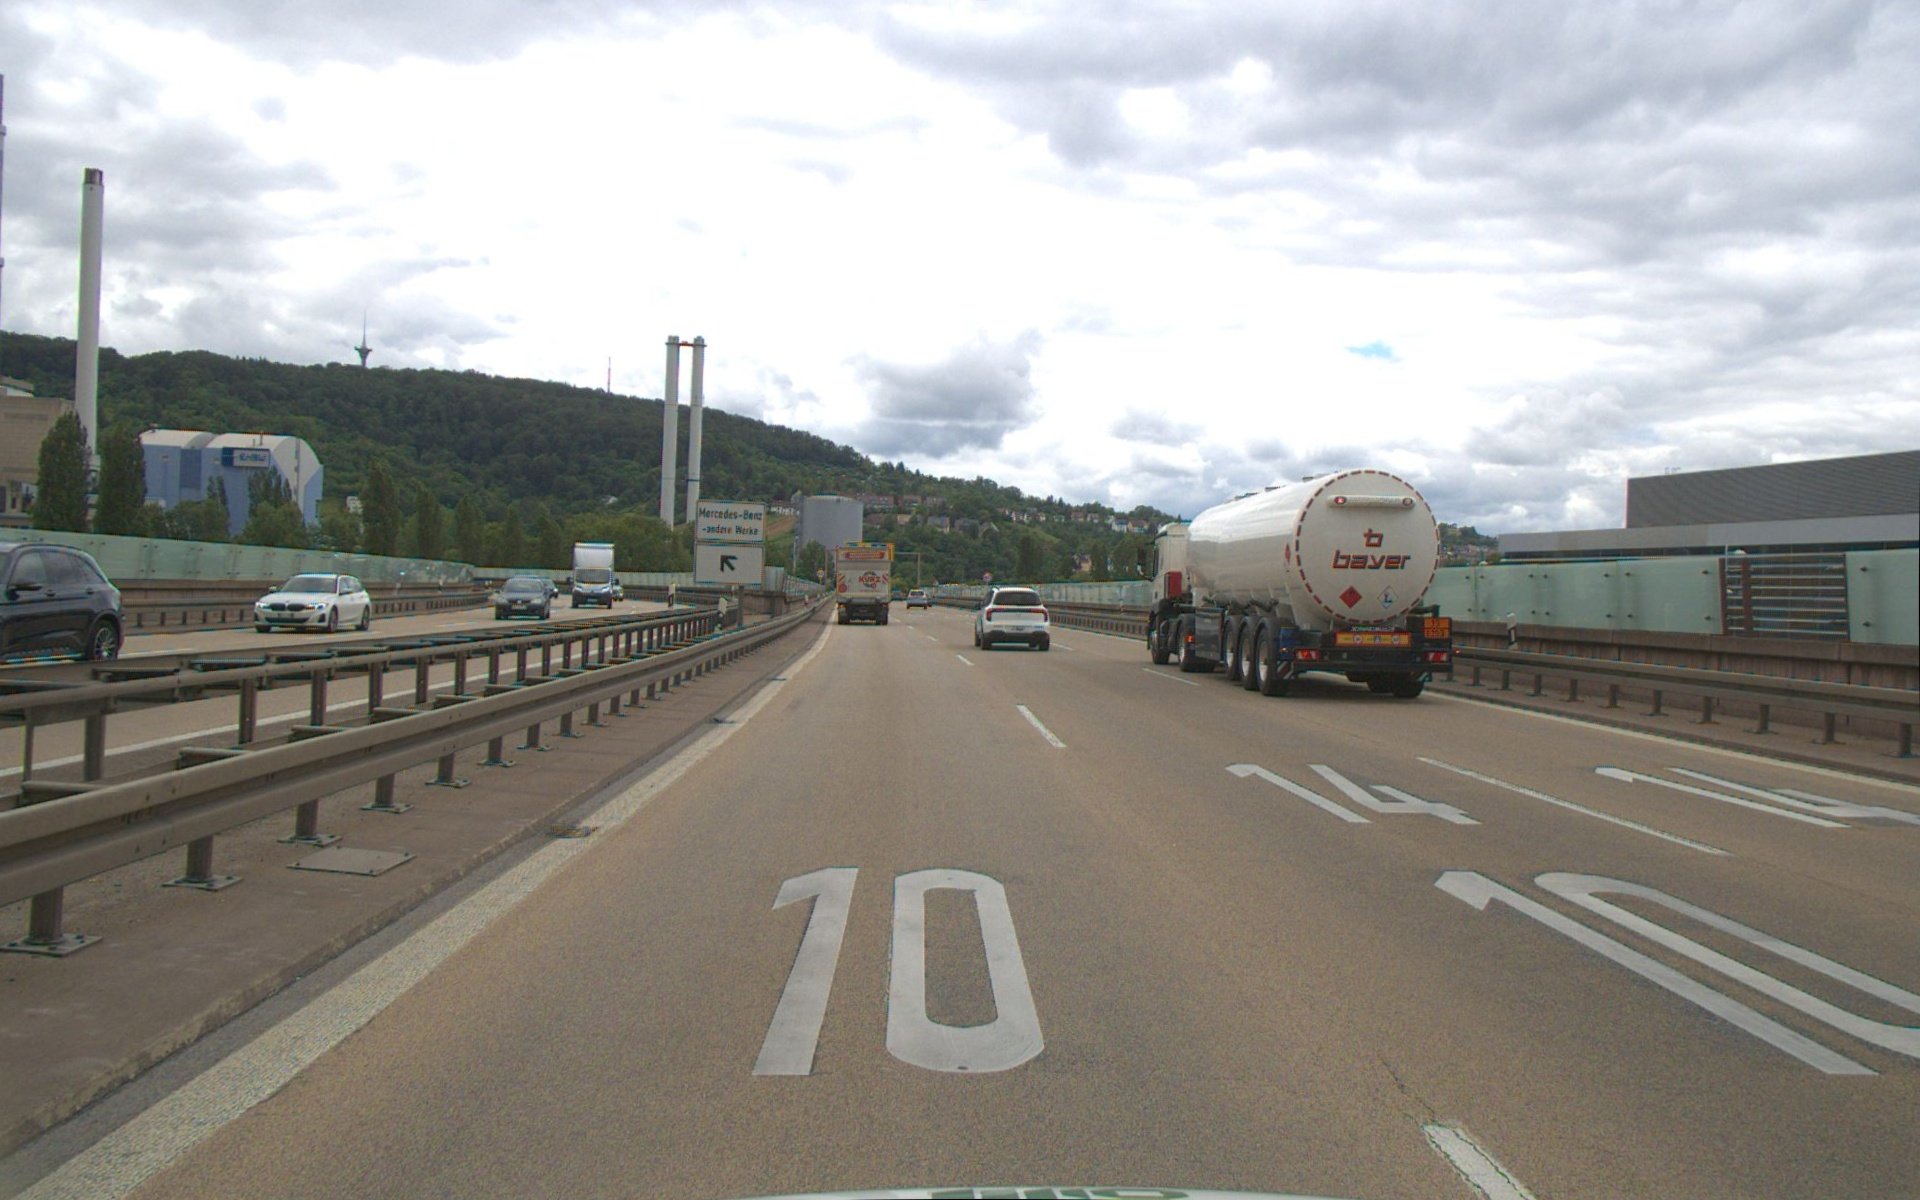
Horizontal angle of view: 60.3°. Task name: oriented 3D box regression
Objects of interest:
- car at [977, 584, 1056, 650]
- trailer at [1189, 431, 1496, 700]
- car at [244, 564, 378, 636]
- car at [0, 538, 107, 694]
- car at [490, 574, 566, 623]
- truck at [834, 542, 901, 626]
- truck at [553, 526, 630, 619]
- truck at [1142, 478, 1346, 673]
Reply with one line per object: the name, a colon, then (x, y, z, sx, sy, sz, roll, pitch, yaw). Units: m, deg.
car: (1.505, 0.477, 45.611, 1.953, 1.704, 4.407, 1, -1, -1)
trailer: (6.128, -0.472, 28.122, 2.995, 3.856, 8.299, 1, 0, -2)
car: (-16.278, 0.022, 41.716, 1.955, 1.704, 4.403, 1, -1, -5)
car: (-11.733, 0.166, 19.362, 1.958, 1.704, 4.395, 1, -1, -12)
car: (-15.687, -0.039, 60.260, 1.955, 1.704, 4.403, 1, -1, -5)
truck: (-4.461, -0.707, 79.496, 2.996, 3.755, 8.297, 1, 0, -4)
truck: (-19.471, -1.354, 87.868, 2.998, 4.642, 8.292, 1, 0, -6)
truck: (5.846, -0.438, 35.077, 2.954, 3.721, 6.269, 1, -1, -3)
